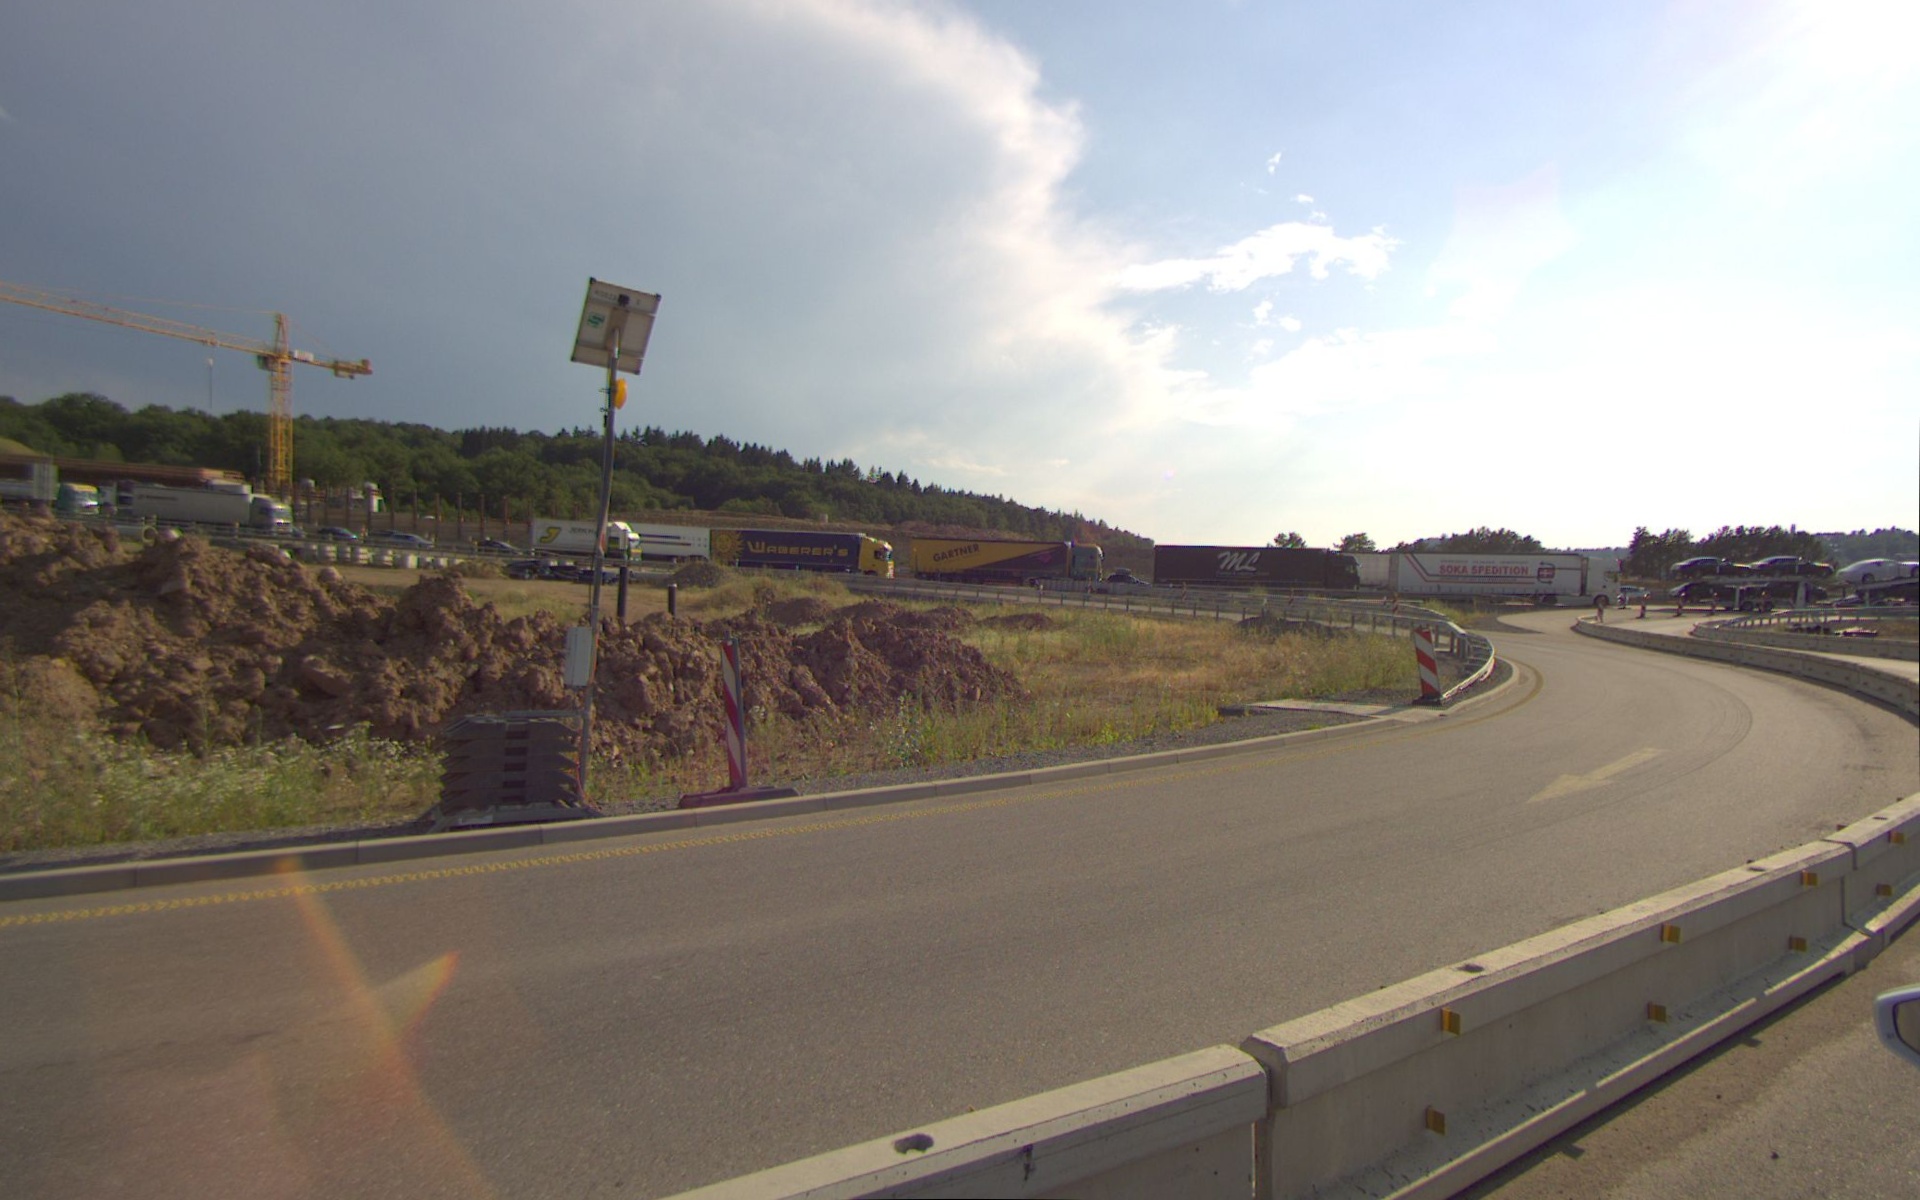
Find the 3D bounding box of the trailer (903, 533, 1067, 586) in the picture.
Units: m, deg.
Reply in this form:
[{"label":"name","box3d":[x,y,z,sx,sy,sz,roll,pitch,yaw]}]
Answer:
[{"label":"trailer","box3d":[2.117,-3.496,85.704,13.692,4.012,2.489,2,2,10]}]

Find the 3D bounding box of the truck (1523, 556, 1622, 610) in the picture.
[{"label":"truck","box3d":[47.660,-1.340,78.268,5.889,3.931,2.489,2,2,9]}]

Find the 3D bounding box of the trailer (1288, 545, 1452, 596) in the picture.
[{"label":"trailer","box3d":[36.590,-2.664,90.220,13.202,4.050,2.868,2,2,9]}]

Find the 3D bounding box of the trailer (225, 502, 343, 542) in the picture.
[{"label":"trailer","box3d":[-81.896,-9.408,121.651,13.963,4.372,3.115,2,1,14]}]

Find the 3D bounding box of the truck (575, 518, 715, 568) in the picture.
[{"label":"truck","box3d":[-31.122,-5.641,99.308,12.907,4.471,3.575,2,1,11]}]

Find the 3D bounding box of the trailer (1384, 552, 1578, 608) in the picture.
[{"label":"trailer","box3d":[40.896,-1.615,79.344,13.354,3.931,2.489,2,2,9]}]

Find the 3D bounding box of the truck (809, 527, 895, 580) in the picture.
[{"label":"truck","box3d":[-9.388,-4.044,87.696,6.756,4.372,3.115,2,1,10]}]

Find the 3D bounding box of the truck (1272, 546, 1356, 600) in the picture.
[{"label":"truck","box3d":[28.505,-2.212,81.106,5.889,4.115,2.489,2,2,11]}]

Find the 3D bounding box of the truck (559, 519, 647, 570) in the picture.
[{"label":"truck","box3d":[-32.483,-5.041,91.430,6.756,4.372,3.115,2,1,10]}]

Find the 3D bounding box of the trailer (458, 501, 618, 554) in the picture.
[{"label":"trailer","box3d":[-38.860,-6.703,92.540,13.962,4.372,3.115,2,1,10]}]

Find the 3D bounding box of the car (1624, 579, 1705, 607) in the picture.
[{"label":"car","box3d":[56.994,-0.585,81.307,4.878,2.008,2.036,2,4,10]}]

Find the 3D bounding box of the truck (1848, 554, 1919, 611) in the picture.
[{"label":"truck","box3d":[70.571,-1.238,74.377,6.490,4.050,2.859,2,2,9]}]

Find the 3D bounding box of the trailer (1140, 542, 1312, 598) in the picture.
[{"label":"trailer","box3d":[21.605,-2.500,82.358,13.354,4.116,2.489,2,2,10]}]

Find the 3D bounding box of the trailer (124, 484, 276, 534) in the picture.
[{"label":"trailer","box3d":[-74.589,-8.953,98.594,13.962,4.372,3.115,2,1,10]}]

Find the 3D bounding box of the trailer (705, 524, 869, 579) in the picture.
[{"label":"trailer","box3d":[-15.271,-4.285,88.701,13.962,4.372,3.115,2,1,10]}]

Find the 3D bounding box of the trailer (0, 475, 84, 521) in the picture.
[{"label":"trailer","box3d":[-97.621,-10.548,103.409,13.962,4.372,3.115,2,1,10]}]

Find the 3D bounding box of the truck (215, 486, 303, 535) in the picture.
[{"label":"truck","box3d":[-67.997,-8.645,97.456,6.756,4.372,3.115,2,1,10]}]

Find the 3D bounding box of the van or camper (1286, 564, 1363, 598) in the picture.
[{"label":"van or camper","box3d":[30.659,-1.646,84.631,5.784,2.655,2.001,2,3,12]}]

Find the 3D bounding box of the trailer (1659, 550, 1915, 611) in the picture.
[{"label":"trailer","box3d":[62.060,-1.534,75.791,15.426,4.050,2.868,2,2,9]}]

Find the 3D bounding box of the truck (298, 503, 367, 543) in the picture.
[{"label":"truck","box3d":[-74.983,-9.209,120.025,6.757,4.372,3.115,2,1,13]}]

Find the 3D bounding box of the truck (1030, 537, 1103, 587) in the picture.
[{"label":"truck","box3d":[8.980,-3.189,84.507,5.889,3.954,2.489,2,2,10]}]

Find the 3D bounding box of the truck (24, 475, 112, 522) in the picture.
[{"label":"truck","box3d":[-90.650,-10.282,102.095,6.756,4.372,3.115,2,1,10]}]
